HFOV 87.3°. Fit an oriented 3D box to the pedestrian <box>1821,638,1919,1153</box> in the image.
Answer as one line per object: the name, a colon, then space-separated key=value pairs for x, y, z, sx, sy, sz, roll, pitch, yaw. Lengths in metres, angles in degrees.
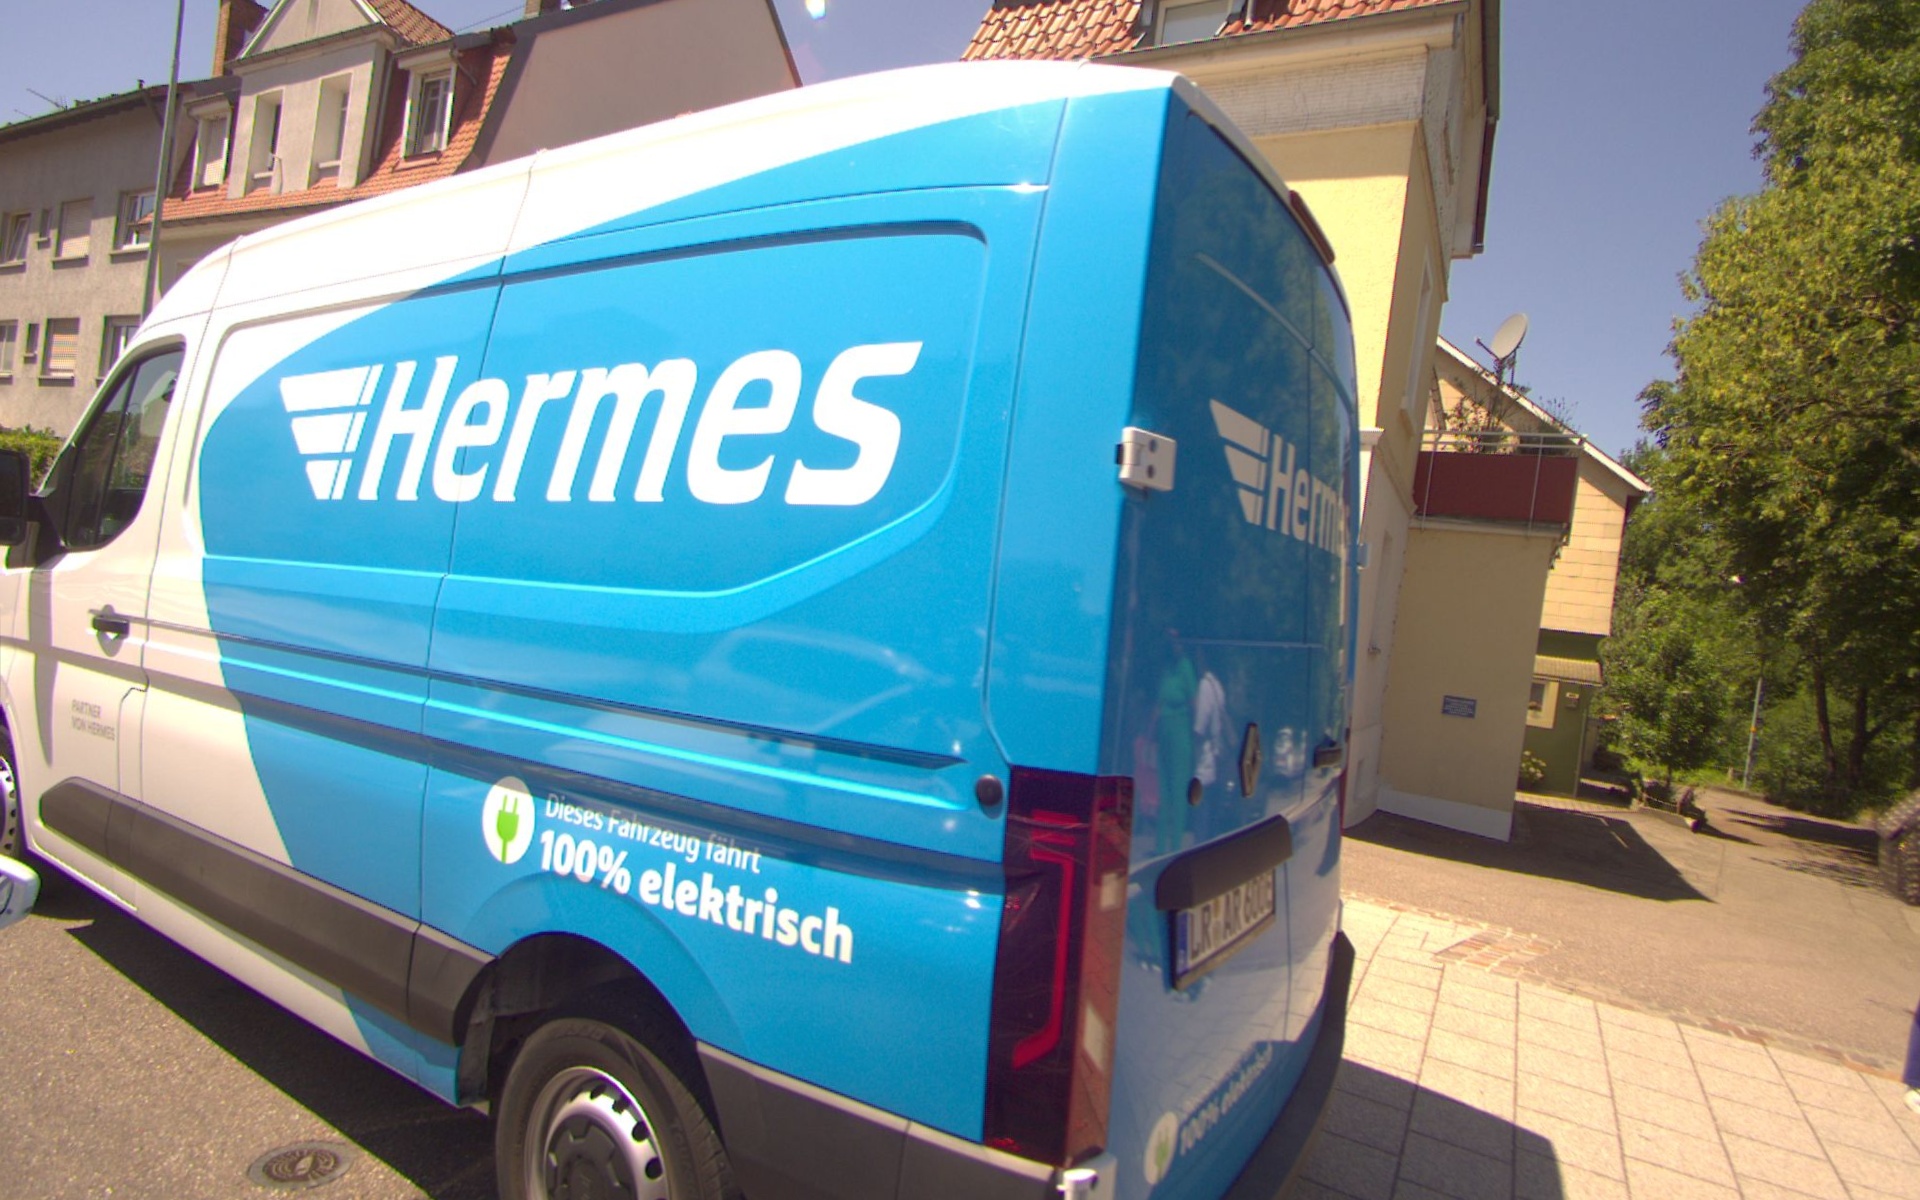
pedestrian: x=3.508 y=1.002 z=3.450 sx=0.512 sy=1.677 sz=0.637 roll=8 pitch=4 yaw=28

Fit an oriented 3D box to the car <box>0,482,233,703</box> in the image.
car: x=-8.328 y=-0.228 z=8.663 sx=4.080 sy=1.550 sz=1.805 roll=7 pitch=2 yaw=31

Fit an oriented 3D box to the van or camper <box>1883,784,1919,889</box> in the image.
van or camper: x=17.547 y=4.262 z=17.792 sx=1.654 sy=1.592 sz=3.519 roll=8 pitch=-1 yaw=43

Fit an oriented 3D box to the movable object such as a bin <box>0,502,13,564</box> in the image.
movable object such as a bin: x=-17.923 y=-1.271 z=18.449 sx=0.763 sy=1.098 sz=0.554 roll=7 pitch=1 yaw=32

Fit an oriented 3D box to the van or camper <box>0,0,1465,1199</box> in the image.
van or camper: x=-1.782 y=0.079 z=3.649 sx=6.076 sy=2.499 sz=2.109 roll=6 pitch=1 yaw=33
